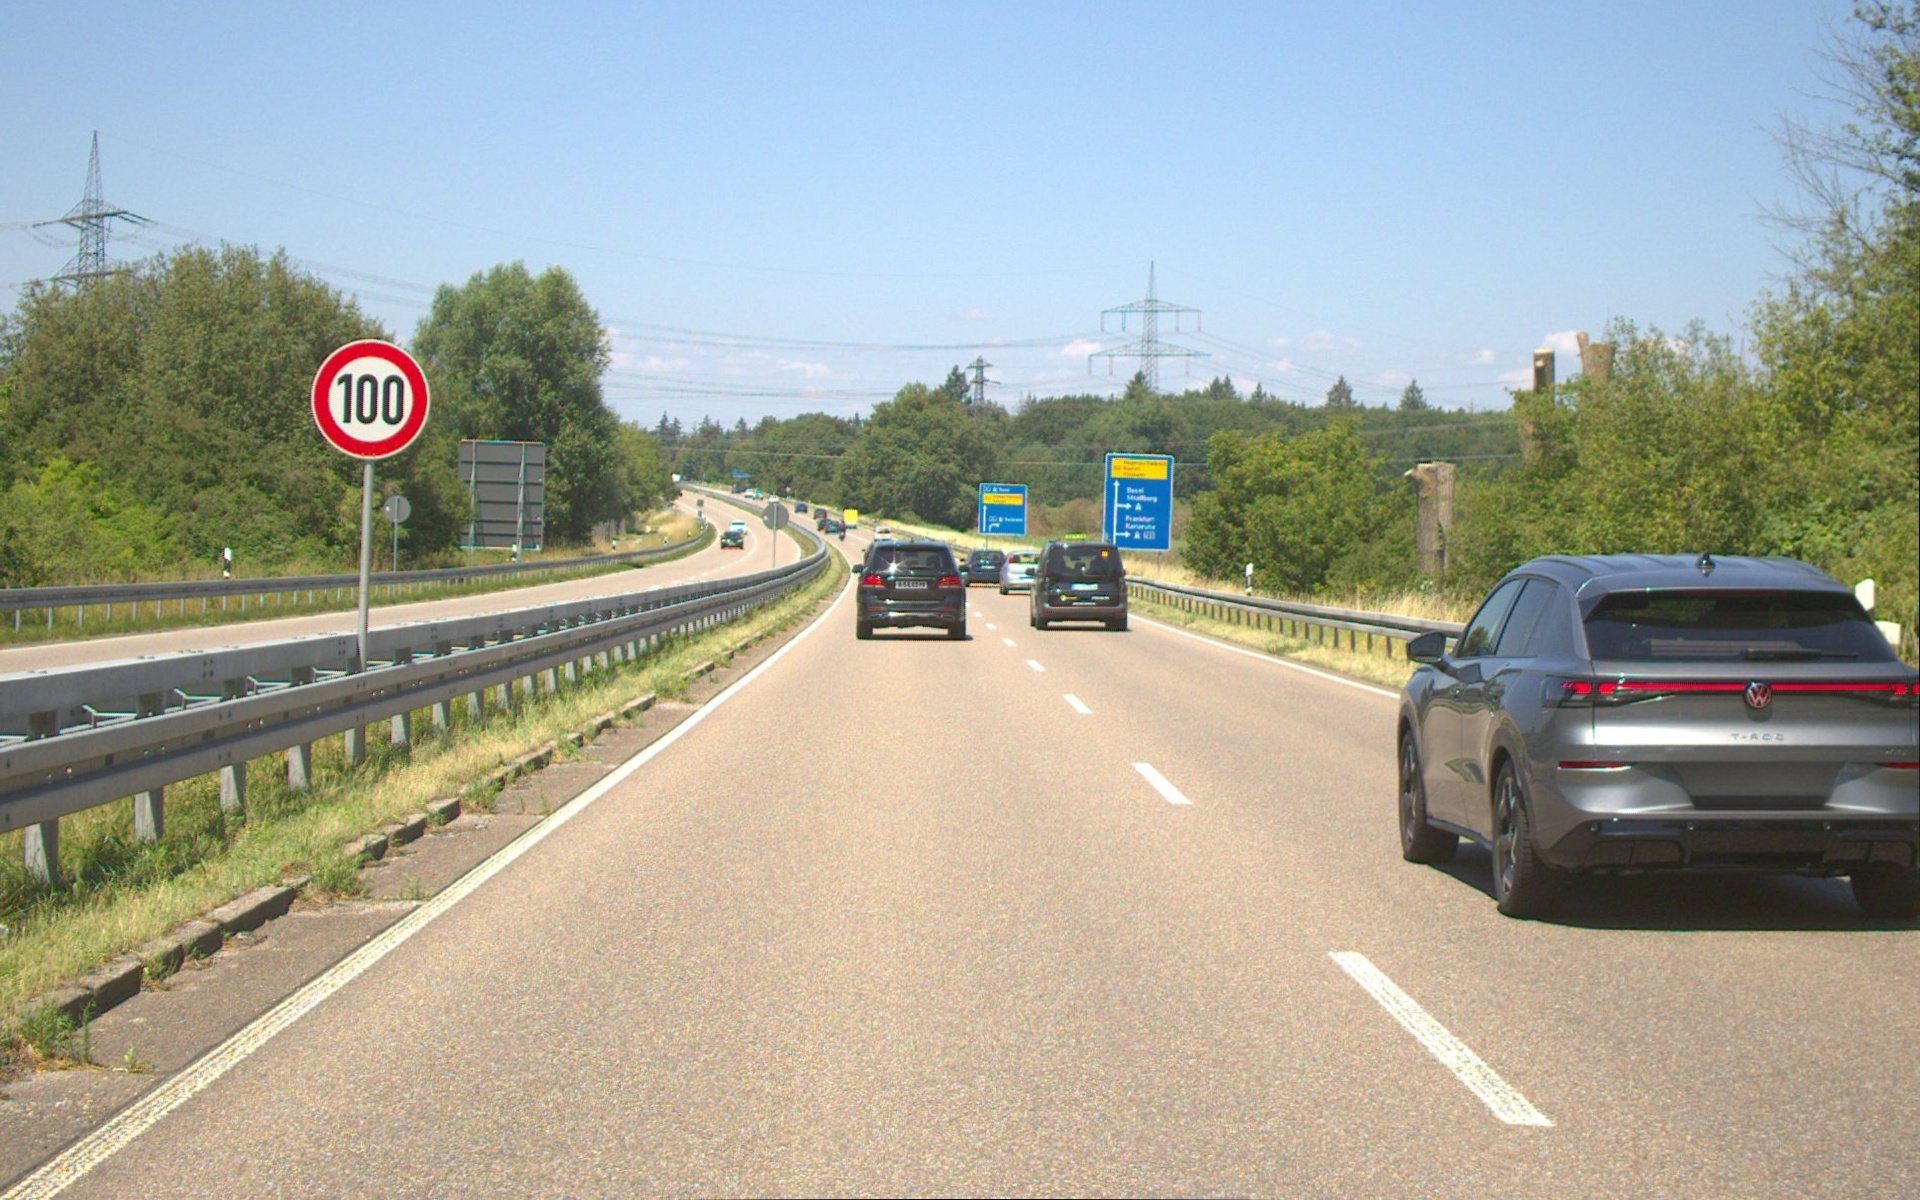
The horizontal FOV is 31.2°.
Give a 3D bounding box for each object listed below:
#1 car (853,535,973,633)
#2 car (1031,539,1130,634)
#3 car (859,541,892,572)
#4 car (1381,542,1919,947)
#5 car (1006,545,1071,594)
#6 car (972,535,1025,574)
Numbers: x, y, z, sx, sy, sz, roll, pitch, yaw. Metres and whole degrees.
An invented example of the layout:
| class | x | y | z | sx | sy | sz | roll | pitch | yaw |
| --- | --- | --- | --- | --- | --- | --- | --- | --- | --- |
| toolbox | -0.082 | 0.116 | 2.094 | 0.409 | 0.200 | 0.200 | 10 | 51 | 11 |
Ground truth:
| class | x | y | z | sx | sy | sz | roll | pitch | yaw |
| --- | --- | --- | --- | --- | --- | --- | --- | --- | --- |
| car | -0.871 | -0.312 | 61.084 | 1.993 | 1.649 | 4.001 | 1 | 1 | -2 |
| car | 2.413 | -0.304 | 69.834 | 1.779 | 1.810 | 4.213 | 1 | 1 | -1 |
| car | -4.375 | -2.253 | 177.745 | 1.514 | 1.470 | 3.066 | 4 | 1 | -2 |
| car | 3.113 | 0.538 | 15.581 | 1.785 | 1.548 | 4.020 | 0 | 2 | -2 |
| car | 2.594 | -1.040 | 113.828 | 1.779 | 1.474 | 4.316 | 4 | 1 | -2 |
| car | 1.444 | -1.723 | 129.539 | 1.819 | 1.409 | 4.001 | 1 | 2 | -1 |
